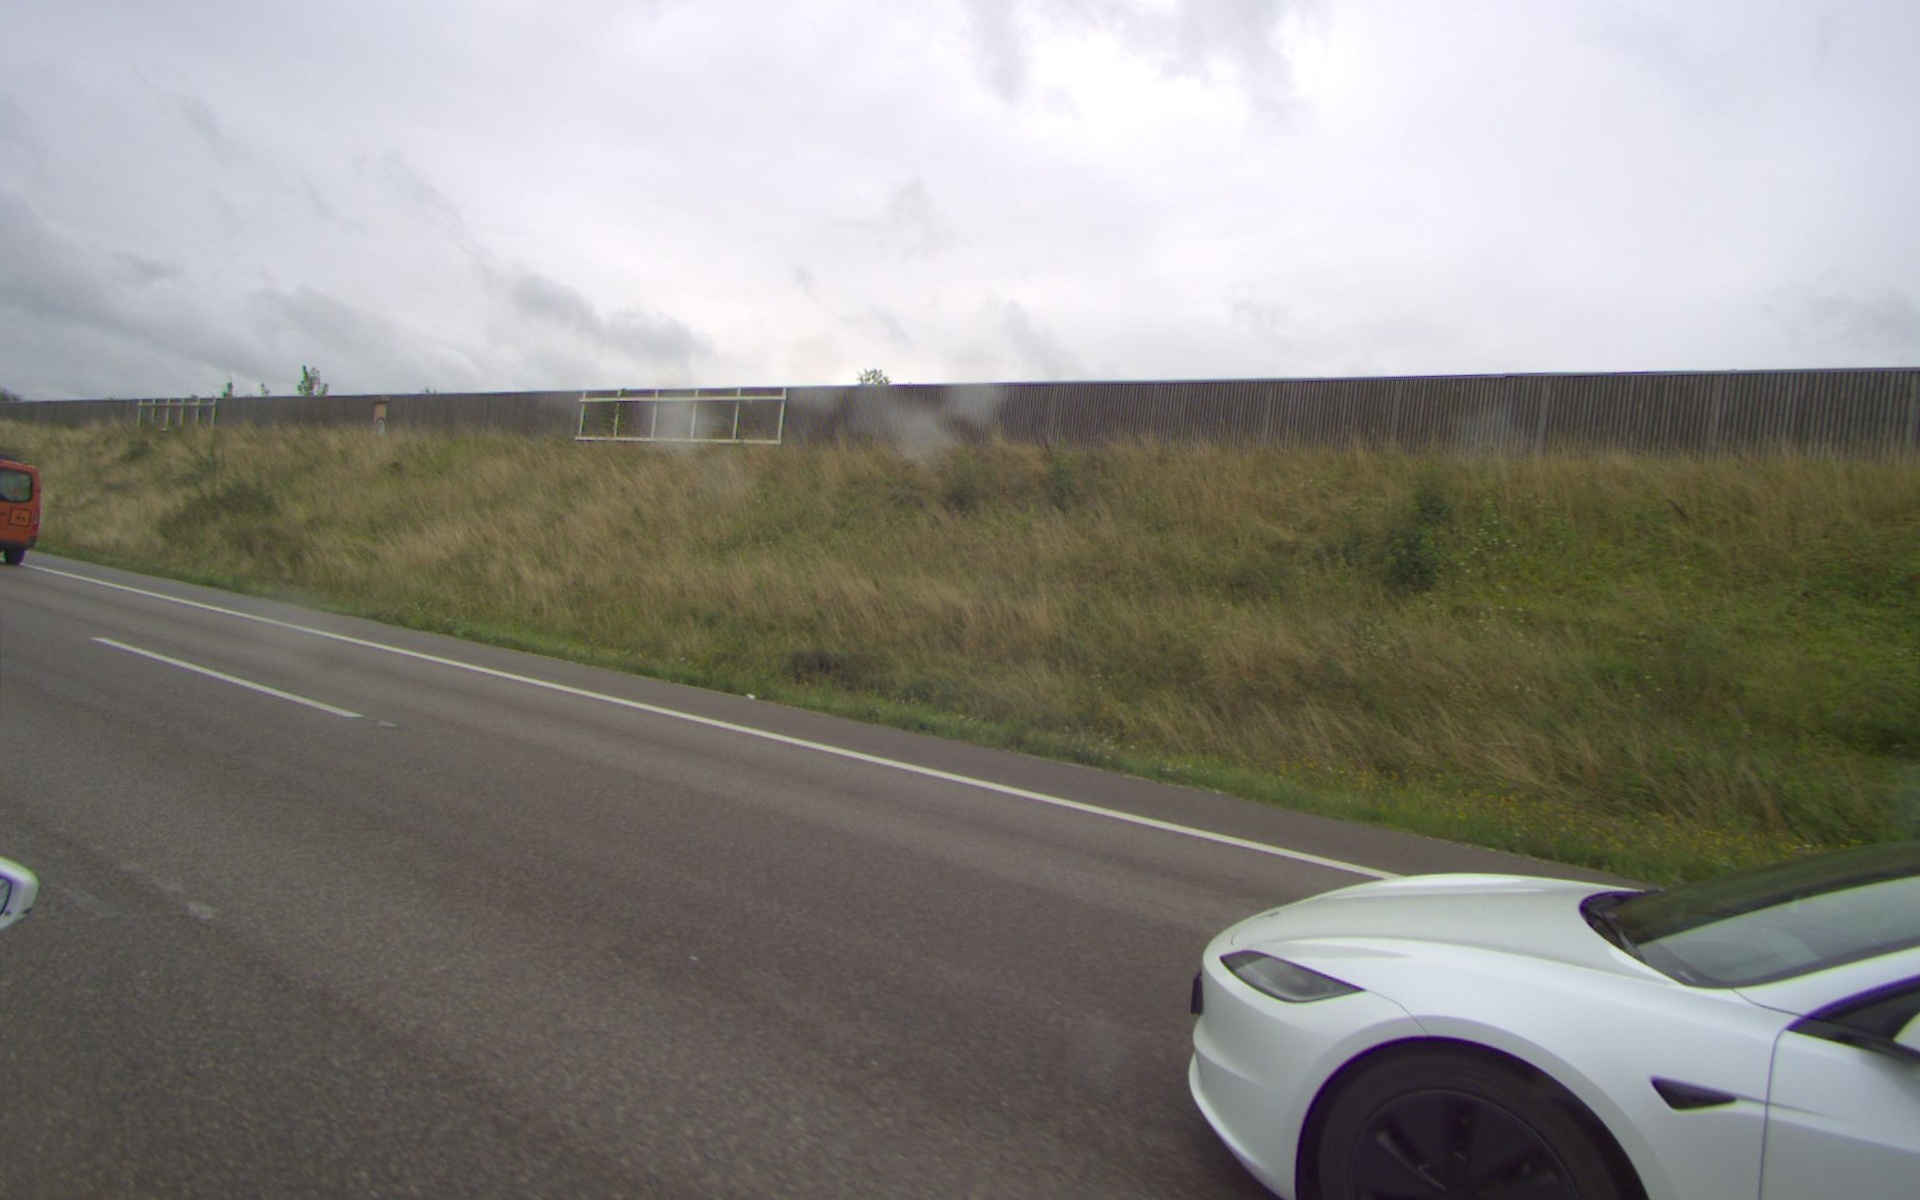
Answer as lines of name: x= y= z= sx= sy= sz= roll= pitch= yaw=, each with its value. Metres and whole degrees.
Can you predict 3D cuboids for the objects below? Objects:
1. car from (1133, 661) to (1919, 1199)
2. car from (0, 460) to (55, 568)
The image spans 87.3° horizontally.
car: x=3.020 y=1.157 z=2.243 sx=4.734 sy=1.379 sz=1.877 roll=6 pitch=-2 yaw=32
car: x=-24.322 y=-2.296 z=24.104 sx=6.078 sy=2.343 sz=2.089 roll=7 pitch=0 yaw=31
